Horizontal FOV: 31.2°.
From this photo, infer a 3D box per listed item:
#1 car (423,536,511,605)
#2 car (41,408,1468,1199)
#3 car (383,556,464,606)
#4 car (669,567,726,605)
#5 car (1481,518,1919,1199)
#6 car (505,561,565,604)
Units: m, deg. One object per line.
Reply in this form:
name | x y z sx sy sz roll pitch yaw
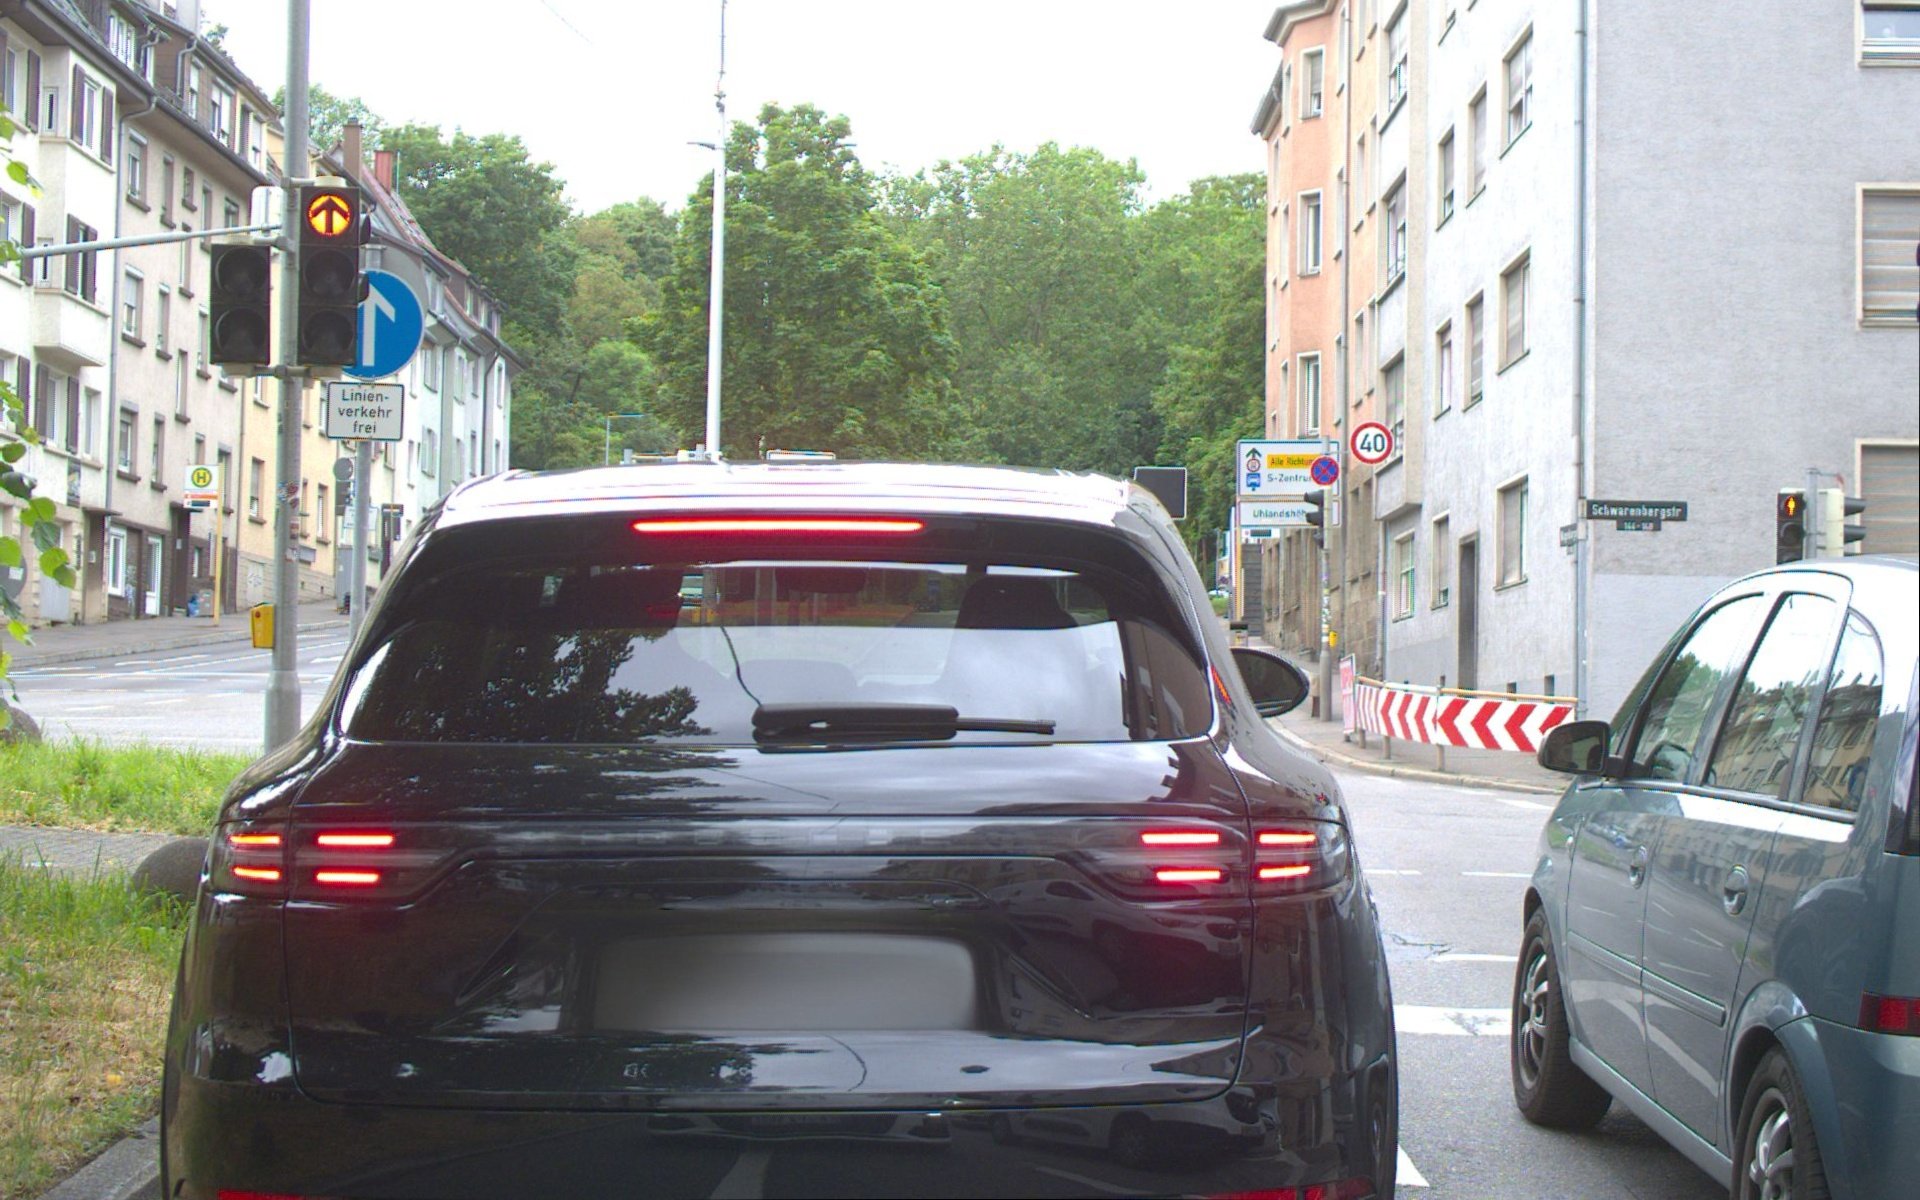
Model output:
car | -14.961 -0.905 104.535 2.016 2.038 4.667 1 1 0
car | -0.305 0.553 6.718 1.955 1.669 4.000 0 1 -1
car | -15.387 -0.567 98.723 1.739 1.382 3.814 1 1 0
car | -9.948 -0.543 130.452 1.862 1.383 4.094 1 1 0
car | 2.359 0.685 7.886 1.628 1.592 3.669 4 1 -1
car | -15.423 -0.647 124.962 1.689 1.533 3.814 1 1 0
